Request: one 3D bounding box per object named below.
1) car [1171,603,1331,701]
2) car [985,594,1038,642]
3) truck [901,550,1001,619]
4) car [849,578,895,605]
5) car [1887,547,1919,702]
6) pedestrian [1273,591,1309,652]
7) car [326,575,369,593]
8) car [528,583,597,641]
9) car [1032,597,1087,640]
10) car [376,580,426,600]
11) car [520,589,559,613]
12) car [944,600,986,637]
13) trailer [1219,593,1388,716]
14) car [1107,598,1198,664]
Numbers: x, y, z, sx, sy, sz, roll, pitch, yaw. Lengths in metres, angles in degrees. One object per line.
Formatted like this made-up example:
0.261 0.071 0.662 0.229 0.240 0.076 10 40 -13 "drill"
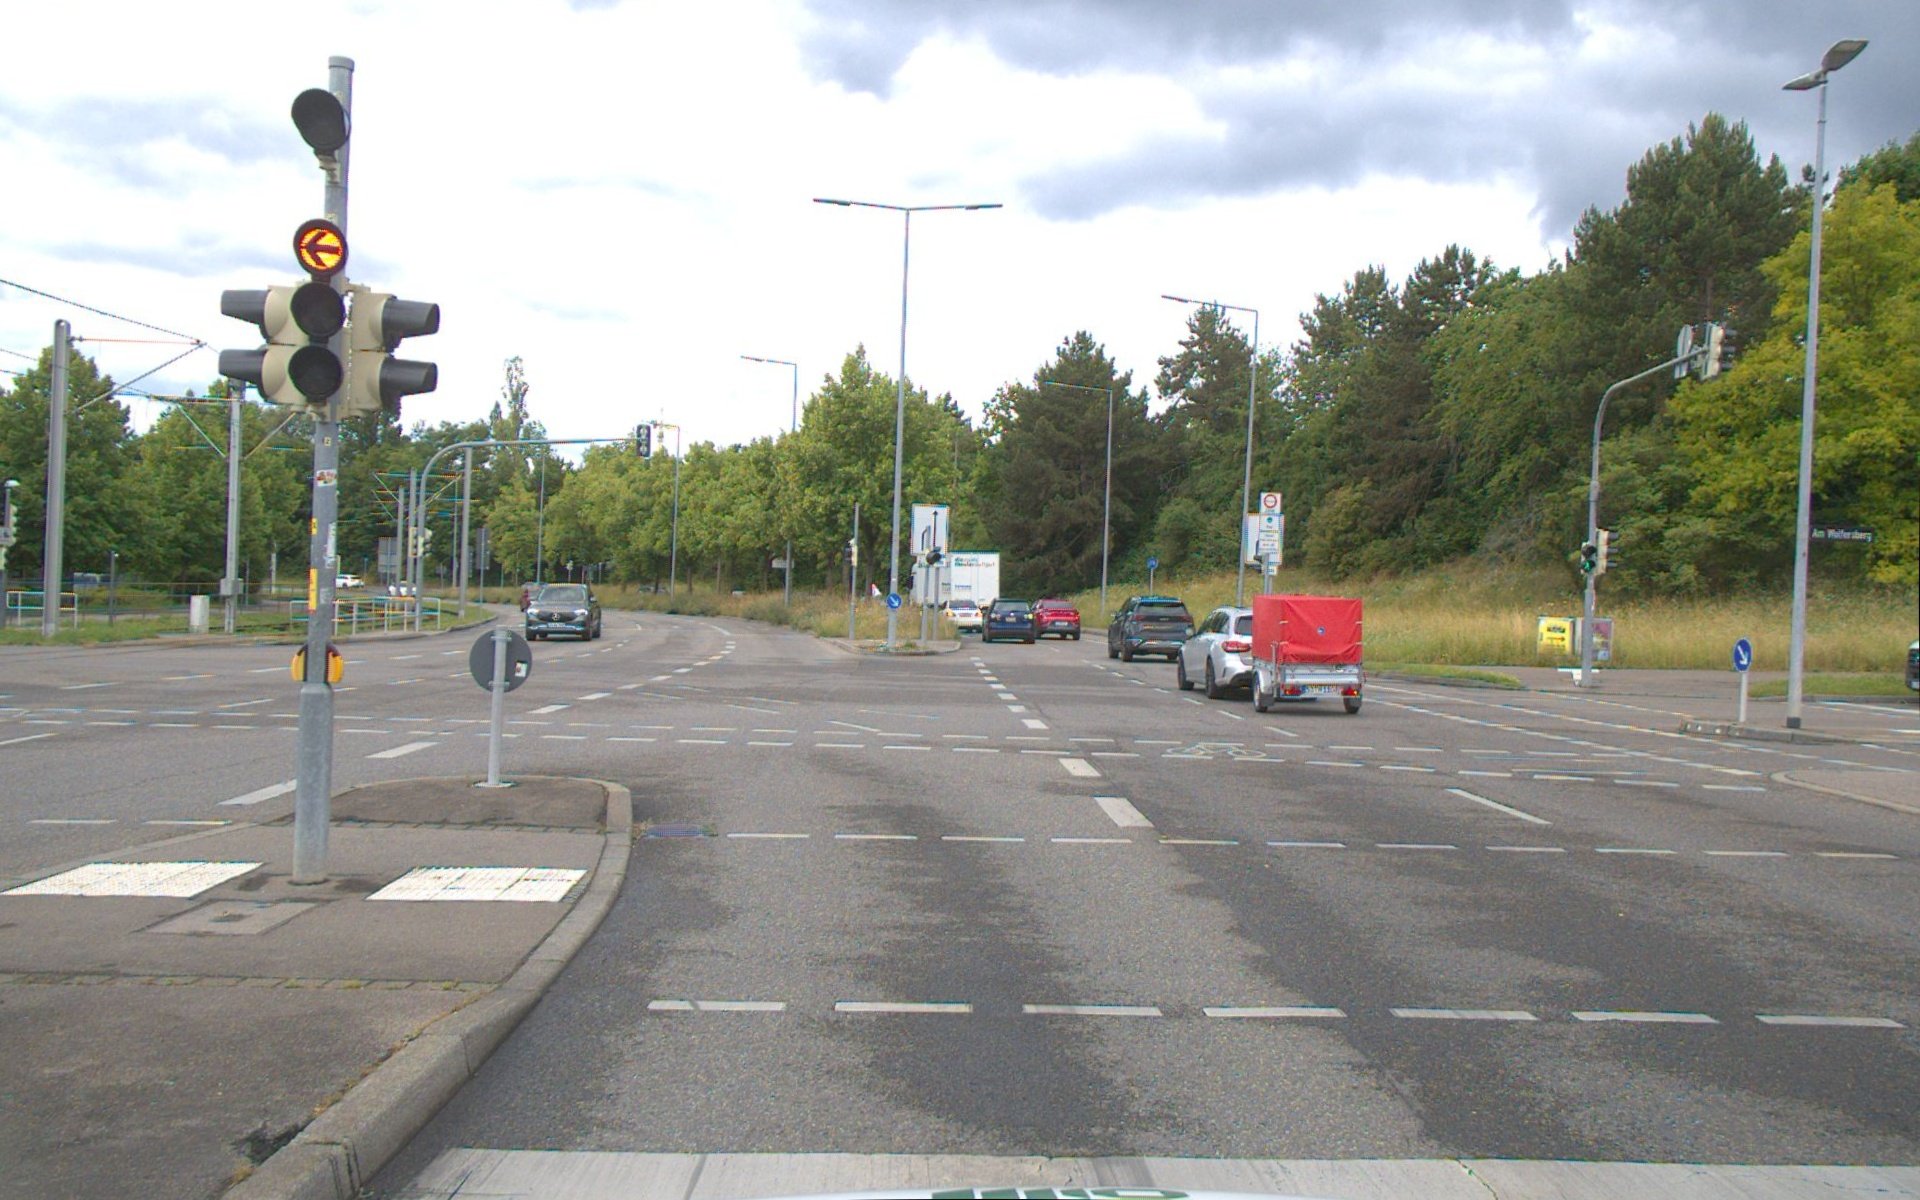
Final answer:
4.799 0.815 27.872 1.742 1.446 4.457 1 0 -2 "car"
1.857 0.606 58.489 1.741 1.573 4.026 1 0 3 "car"
-0.631 -0.833 87.492 2.693 3.387 11.365 1 0 -14 "truck"
-5.452 -0.546 101.781 1.752 1.573 4.001 1 0 -20 "car"
20.334 0.467 30.085 5.772 2.830 2.135 0 0 -1 "car"
9.187 0.600 45.907 0.797 1.656 0.790 1 0 -1 "pedestrian"
-62.234 -1.655 168.133 3.909 1.780 1.998 1 0 27 "car"
-11.548 0.320 48.253 1.746 1.573 4.214 1 0 -11 "car"
3.926 0.708 65.828 1.742 1.573 4.022 1 0 -3 "car"
-46.217 -0.842 136.775 4.338 1.657 1.827 0 0 37 "car"
-25.726 0.051 101.116 1.756 1.468 4.395 0 0 -23 "car"
0.198 0.810 75.339 1.742 1.573 4.023 1 0 -2 "car"
4.932 0.735 24.123 1.729 1.644 3.043 1 0 -2 "trailer"
4.904 0.755 42.645 1.742 1.573 4.023 1 0 -2 "car"
